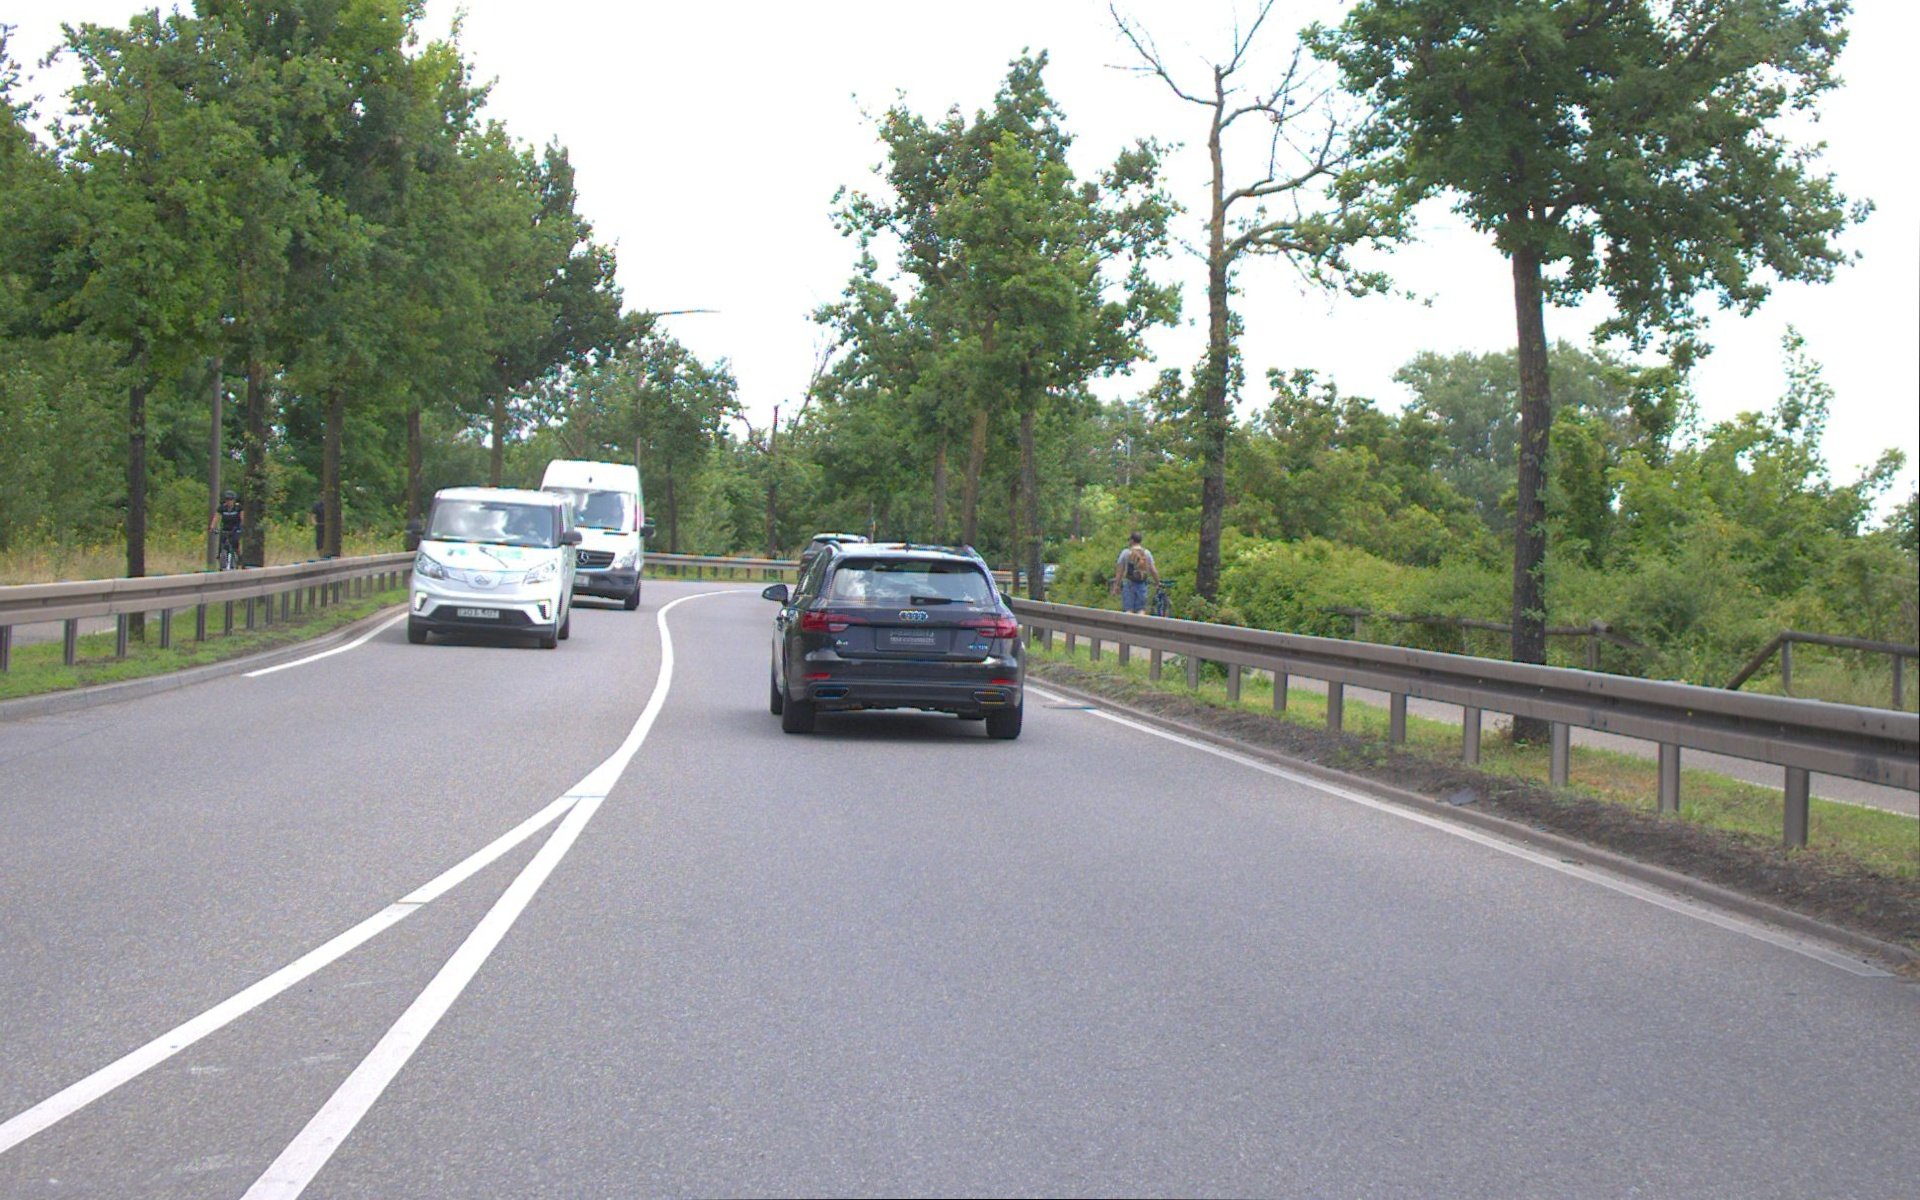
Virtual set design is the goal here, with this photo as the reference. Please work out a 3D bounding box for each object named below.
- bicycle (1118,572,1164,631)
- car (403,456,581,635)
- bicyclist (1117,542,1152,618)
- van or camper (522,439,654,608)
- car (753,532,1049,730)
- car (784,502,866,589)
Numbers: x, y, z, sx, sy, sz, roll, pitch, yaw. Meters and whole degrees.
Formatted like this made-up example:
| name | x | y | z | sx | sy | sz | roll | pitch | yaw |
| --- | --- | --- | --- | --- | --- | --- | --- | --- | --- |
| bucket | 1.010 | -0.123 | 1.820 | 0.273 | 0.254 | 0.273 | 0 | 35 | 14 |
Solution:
| name | x | y | z | sx | sy | sz | roll | pitch | yaw |
| --- | --- | --- | --- | --- | --- | --- | --- | --- | --- |
| bicycle | 2.776 | 0.028 | 52.912 | 0.542 | 0.863 | 1.750 | 3 | -1 | -1 |
| car | -5.726 | -0.628 | 41.984 | 1.993 | 2.007 | 4.456 | 2 | 0 | -8 |
| bicyclist | 2.690 | -0.308 | 53.106 | 0.474 | 1.164 | 0.827 | 1 | 0 | -1 |
| van or camper | -6.562 | -1.295 | 61.105 | 1.993 | 2.741 | 5.386 | 4 | -1 | -4 |
| car | -0.551 | 0.179 | 26.745 | 1.993 | 1.386 | 4.576 | 1 | 1 | -5 |
| car | -3.583 | -1.402 | 90.632 | 1.993 | 2.030 | 4.713 | 2 | -1 | -3 |
